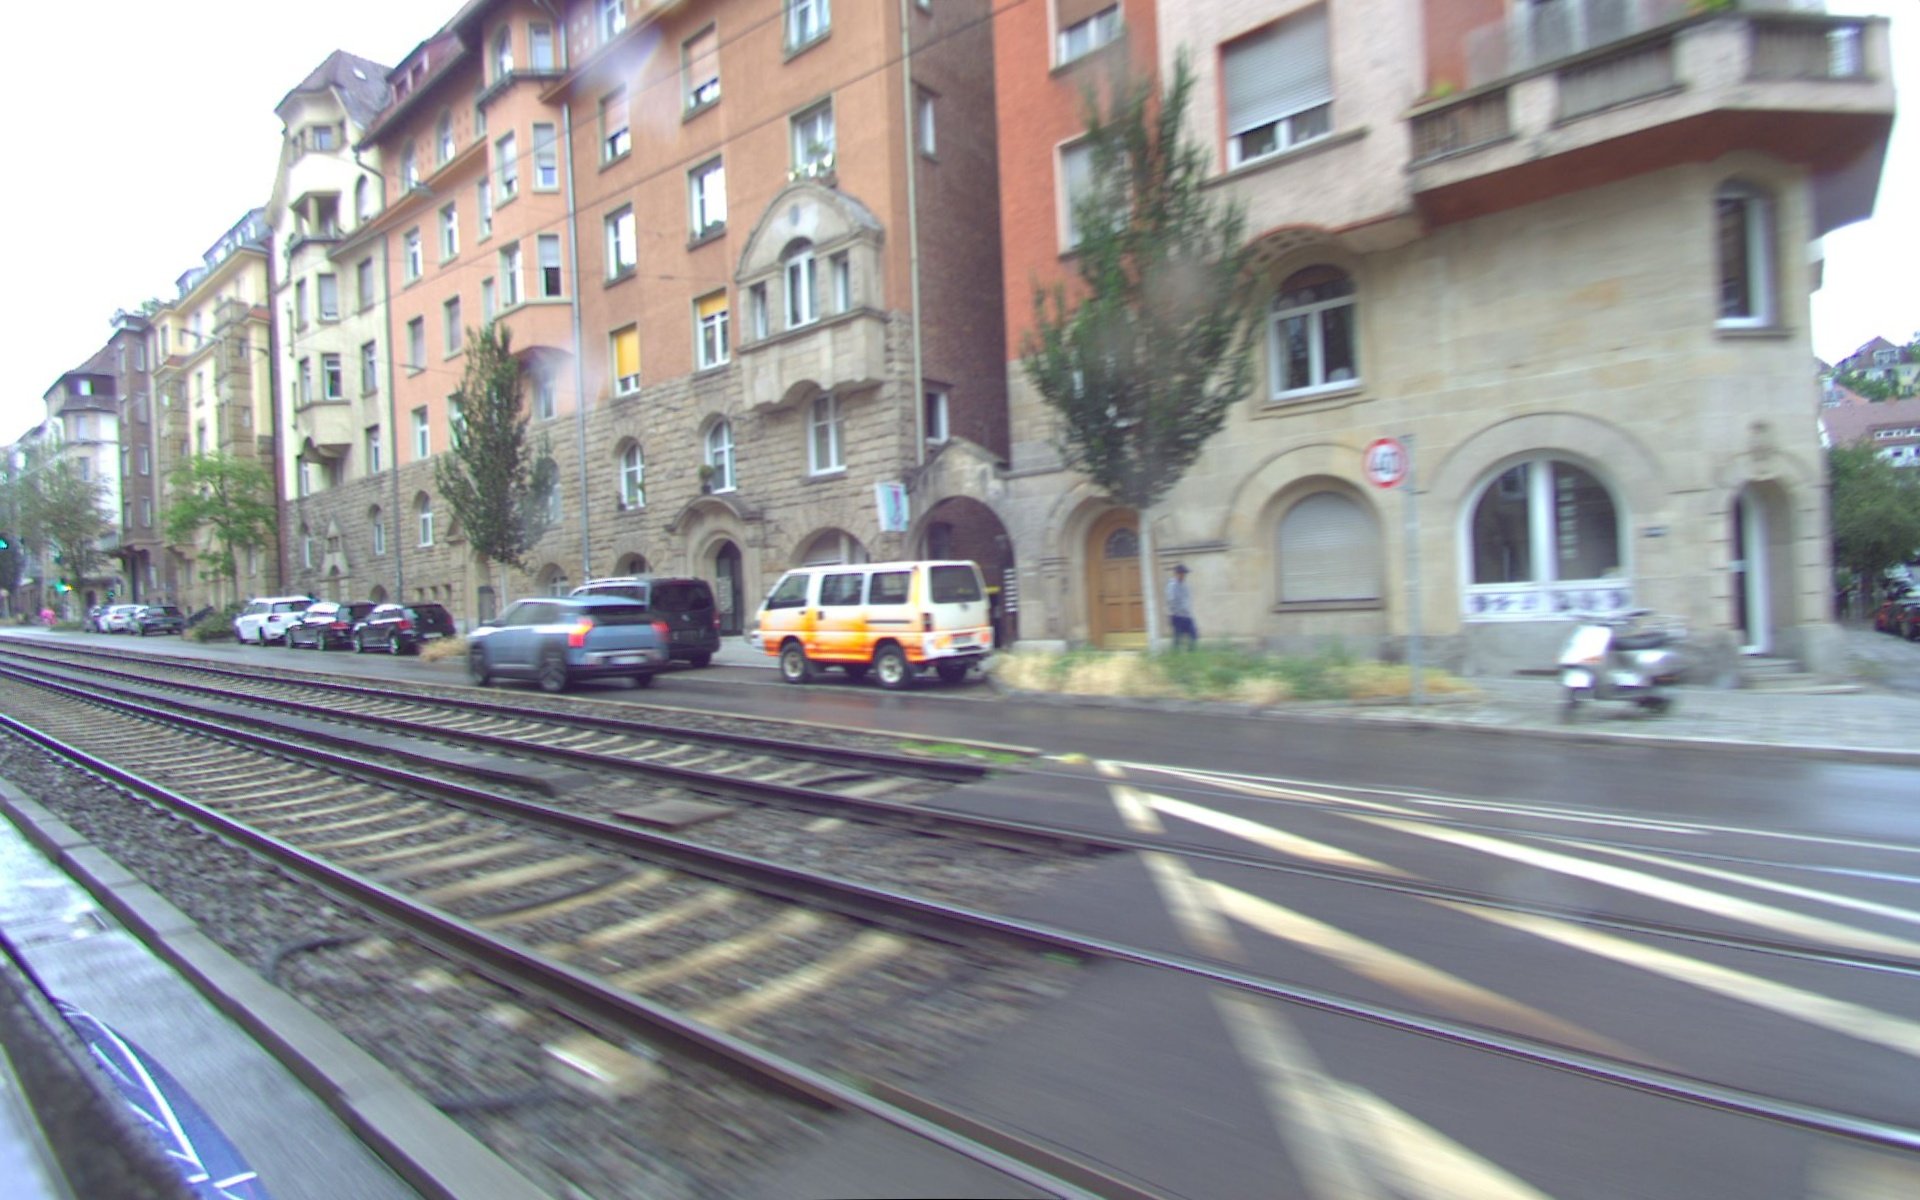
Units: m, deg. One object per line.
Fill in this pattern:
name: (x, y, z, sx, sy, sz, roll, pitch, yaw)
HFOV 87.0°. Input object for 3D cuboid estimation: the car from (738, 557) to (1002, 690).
car: (-1.604, 0.349, 16.874, 4.472, 1.945, 1.711, 0, 0, 39)

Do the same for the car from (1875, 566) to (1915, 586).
car: (74.183, -1.882, 80.336, 1.997, 1.586, 3.949, 0, 0, 38)

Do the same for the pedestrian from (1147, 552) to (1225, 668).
pedestrian: (3.584, 0.143, 16.033, 0.892, 1.731, 0.710, 0, 6, 41)

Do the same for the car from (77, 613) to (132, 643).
car: (-46.818, 1.499, 55.375, 3.711, 1.438, 1.737, 0, 3, 42)

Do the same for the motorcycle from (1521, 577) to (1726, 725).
motorcycle: (6.614, 0.470, 10.098, 1.754, 1.385, 0.770, -1, 0, -18)

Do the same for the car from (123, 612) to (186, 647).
car: (-38.589, 1.377, 48.443, 3.711, 1.493, 1.695, 0, 3, 42)

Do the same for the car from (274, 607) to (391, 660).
car: (-20.208, 1.027, 32.534, 4.593, 1.502, 1.738, 0, 2, 39)

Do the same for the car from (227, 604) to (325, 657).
car: (-24.514, 1.029, 36.212, 4.256, 1.684, 1.738, 0, 3, 40)

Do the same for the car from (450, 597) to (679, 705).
car: (-6.898, 0.785, 17.496, 4.124, 1.629, 1.902, 0, 0, 39)

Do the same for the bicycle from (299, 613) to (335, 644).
bicycle: (-26.500, 1.163, 41.724, 2.052, 1.231, 0.685, 0, 0, 41)

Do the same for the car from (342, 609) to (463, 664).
car: (-16.311, 1.009, 29.555, 3.690, 1.414, 1.739, 0, 3, 38)

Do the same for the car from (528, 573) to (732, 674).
car: (-7.162, 0.458, 21.708, 4.828, 1.945, 1.886, 0, 0, 40)

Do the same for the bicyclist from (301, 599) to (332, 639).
bicyclist: (-26.540, 0.781, 41.732, 0.774, 1.613, 0.883, 0, 0, 40)

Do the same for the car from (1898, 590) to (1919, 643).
car: (36.923, 0.601, 38.180, 2.070, 1.921, 3.946, 0, 0, 41)

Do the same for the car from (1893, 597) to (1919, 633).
car: (44.115, 0.644, 46.251, 1.999, 1.586, 3.946, 0, 0, 41)

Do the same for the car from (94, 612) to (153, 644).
car: (-43.256, 1.408, 52.304, 4.042, 1.462, 1.737, 0, 3, 42)
